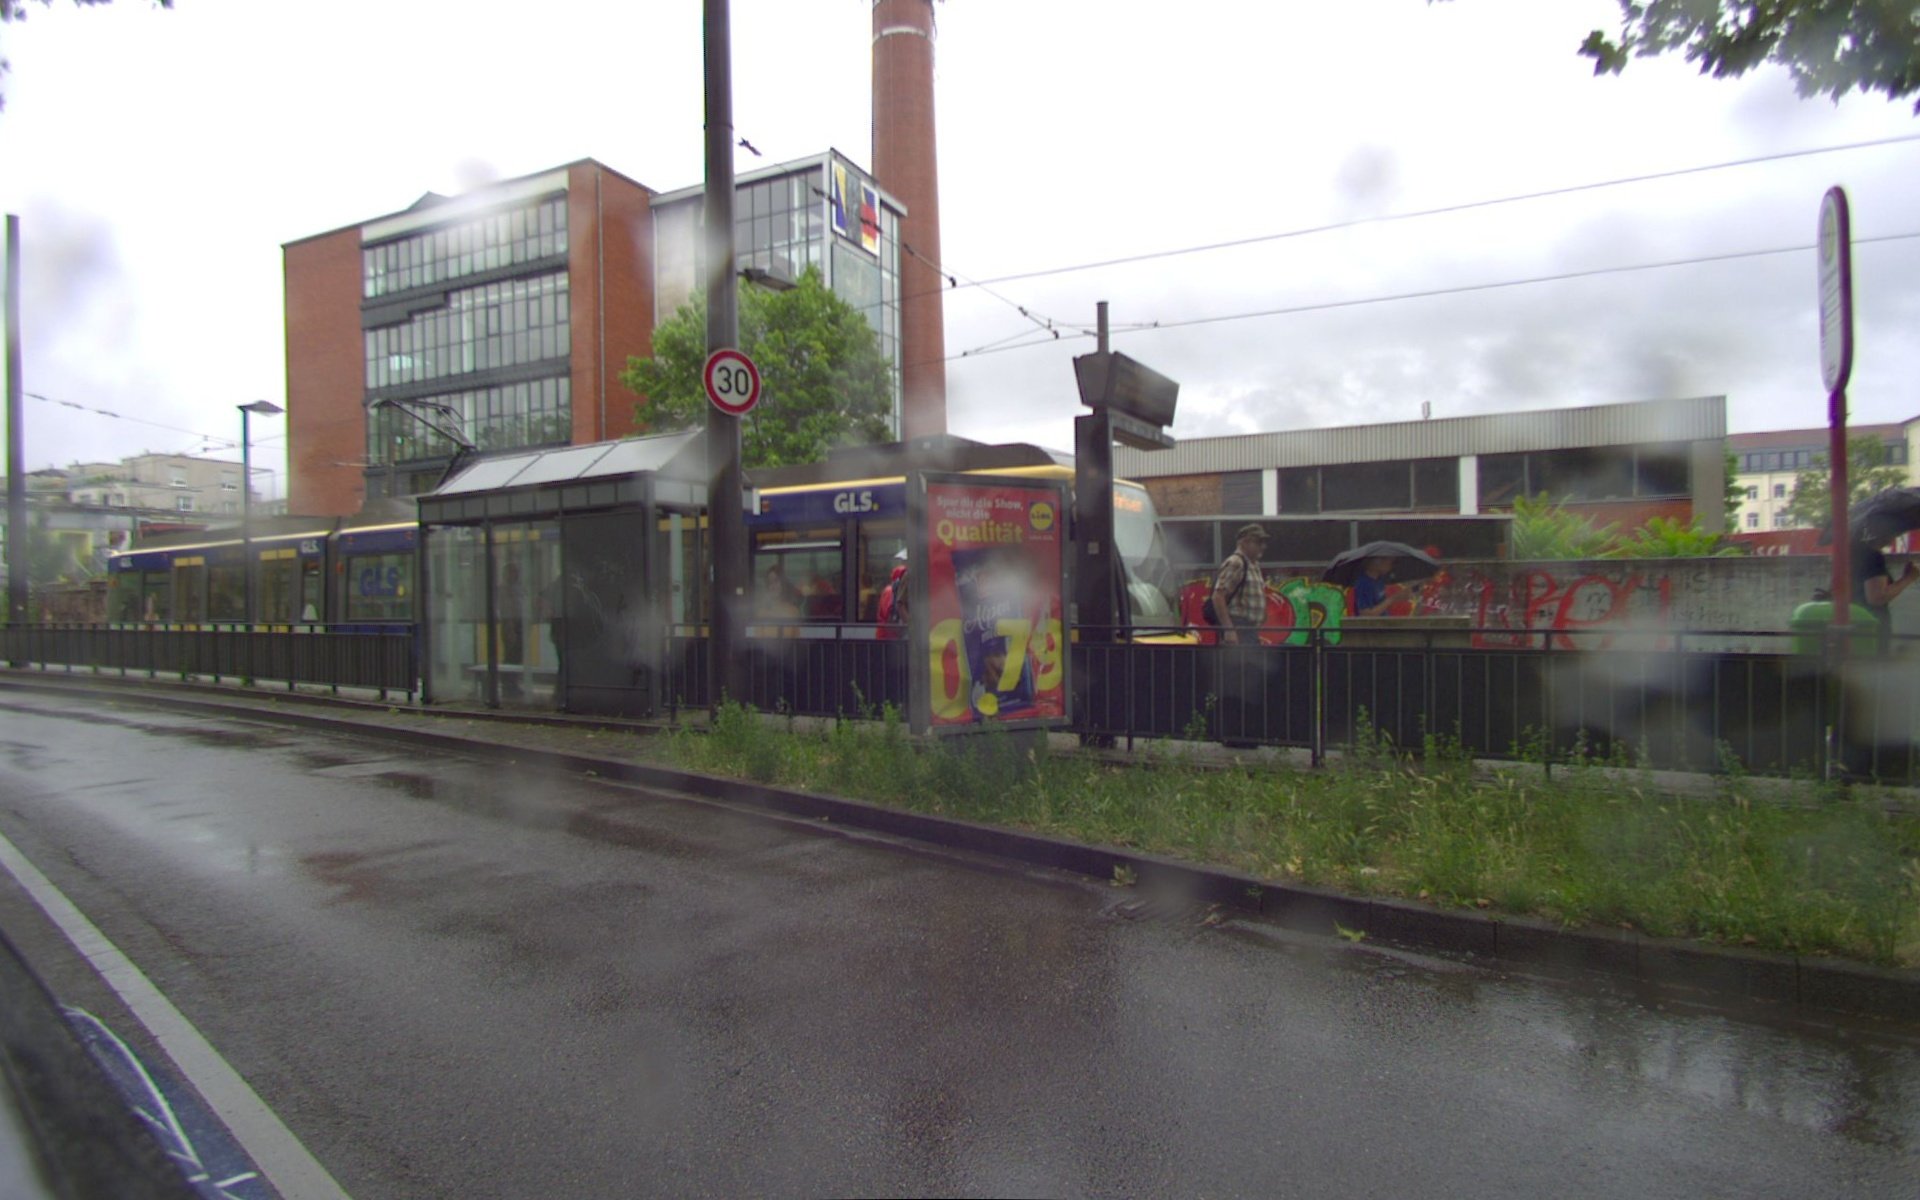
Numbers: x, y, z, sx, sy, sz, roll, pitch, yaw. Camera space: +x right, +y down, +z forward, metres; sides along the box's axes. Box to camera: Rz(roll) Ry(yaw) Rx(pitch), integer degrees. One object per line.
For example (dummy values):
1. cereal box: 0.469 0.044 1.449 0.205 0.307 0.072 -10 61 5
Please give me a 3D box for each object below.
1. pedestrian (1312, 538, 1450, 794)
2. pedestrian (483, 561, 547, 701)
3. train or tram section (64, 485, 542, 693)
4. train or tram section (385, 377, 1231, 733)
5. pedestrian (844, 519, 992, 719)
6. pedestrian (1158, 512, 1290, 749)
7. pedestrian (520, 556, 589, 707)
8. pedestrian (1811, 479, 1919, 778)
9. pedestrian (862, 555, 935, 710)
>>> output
1. pedestrian: 3.345 0.486 8.016 0.888 1.878 0.863 -1 0 29
2. pedestrian: -5.765 0.386 13.101 0.620 1.762 0.515 -1 0 -41
3. train or tram section: -15.407 -0.084 22.674 15.323 3.572 2.838 -1 0 32
4. train or tram section: -3.209 -0.353 14.923 13.666 3.572 2.839 -1 0 31
5. pedestrian: -0.409 0.214 9.980 1.072 1.840 0.975 -4 -4 30
6. pedestrian: 2.133 0.235 8.134 0.826 1.768 0.859 -1 0 27
7. pedestrian: -4.917 0.367 12.274 0.620 1.762 0.565 -1 0 -41
8. pedestrian: 5.798 0.172 6.035 0.651 1.696 0.797 -2 -3 4
9. pedestrian: -0.652 0.359 10.878 0.651 1.584 0.797 -2 -3 4
